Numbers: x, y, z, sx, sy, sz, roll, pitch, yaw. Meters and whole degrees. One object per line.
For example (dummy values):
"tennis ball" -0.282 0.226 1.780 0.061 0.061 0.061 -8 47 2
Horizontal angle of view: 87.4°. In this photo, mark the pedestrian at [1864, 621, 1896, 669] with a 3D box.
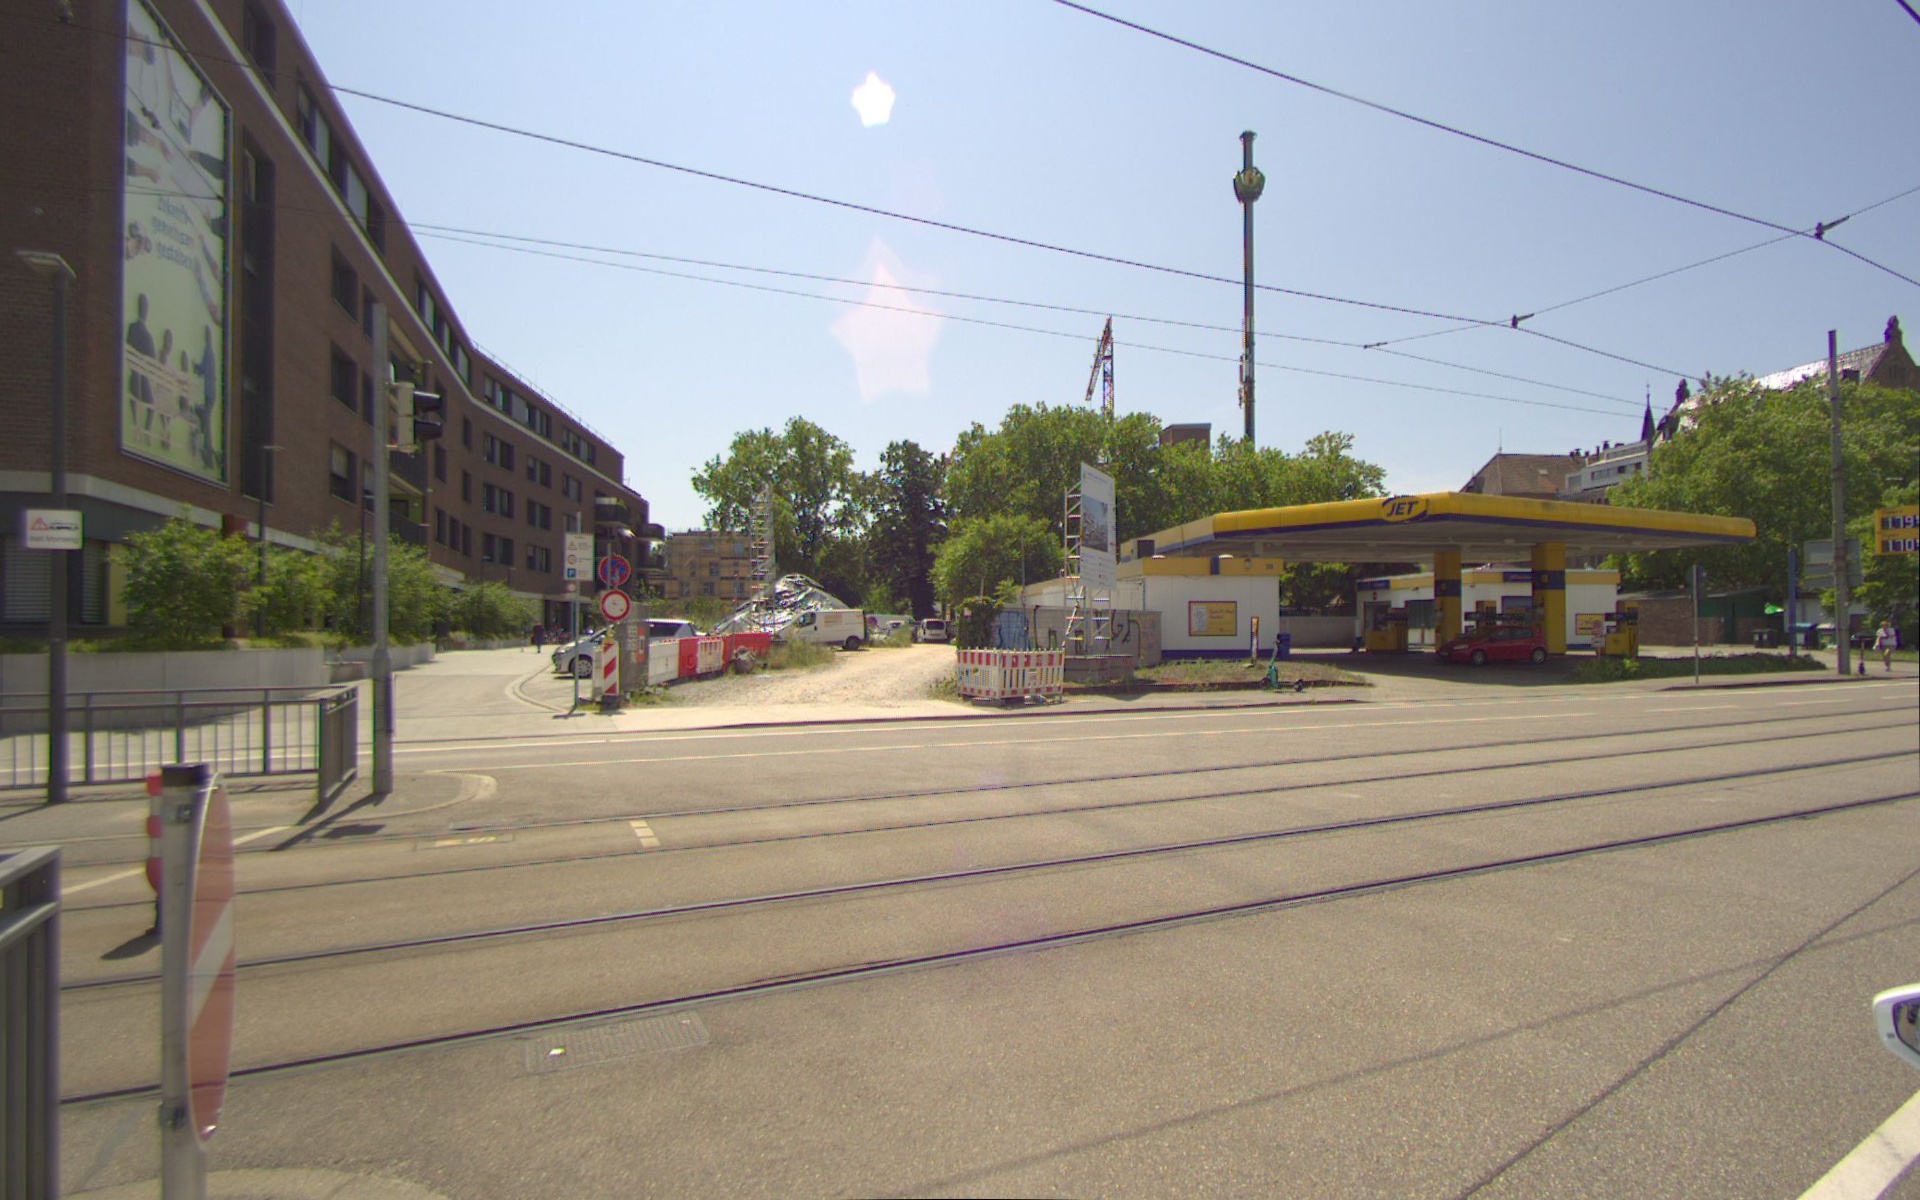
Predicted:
"pedestrian" 33.260 1.619 36.321 0.713 1.713 0.622 0 -1 -27

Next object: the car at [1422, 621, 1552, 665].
"car" 20.158 1.615 38.492 4.122 1.525 1.829 -1 1 -8

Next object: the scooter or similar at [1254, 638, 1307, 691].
"scooter or similar" 7.913 1.582 24.806 1.218 1.281 0.345 0 0 -7

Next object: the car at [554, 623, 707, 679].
"car" -9.176 1.382 28.104 3.938 1.488 1.730 0 -1 -20

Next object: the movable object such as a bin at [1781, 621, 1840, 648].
"movable object such as a bin" 47.246 1.893 55.814 2.060 1.451 1.524 0 0 -7

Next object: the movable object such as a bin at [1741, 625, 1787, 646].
"movable object such as a bin" 46.465 2.041 58.040 1.535 1.153 1.407 0 0 -7

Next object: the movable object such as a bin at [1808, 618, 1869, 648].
"movable object such as a bin" 47.402 1.773 54.216 2.060 1.529 1.524 0 0 -7

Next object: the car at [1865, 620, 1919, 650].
"car" 49.880 1.815 51.867 4.360 1.508 1.936 0 0 9

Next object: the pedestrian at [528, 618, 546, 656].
"pedestrian" -19.093 1.678 45.365 0.675 1.685 0.603 0 0 -15

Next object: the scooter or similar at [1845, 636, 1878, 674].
"scooter or similar" 29.904 1.810 33.325 1.362 1.216 0.515 1 0 -34

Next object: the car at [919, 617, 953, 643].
"car" -1.718 2.093 70.488 1.963 1.686 4.273 0 0 -7

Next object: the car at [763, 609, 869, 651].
"car" -6.839 1.396 47.586 4.740 1.930 1.730 0 -1 -19
